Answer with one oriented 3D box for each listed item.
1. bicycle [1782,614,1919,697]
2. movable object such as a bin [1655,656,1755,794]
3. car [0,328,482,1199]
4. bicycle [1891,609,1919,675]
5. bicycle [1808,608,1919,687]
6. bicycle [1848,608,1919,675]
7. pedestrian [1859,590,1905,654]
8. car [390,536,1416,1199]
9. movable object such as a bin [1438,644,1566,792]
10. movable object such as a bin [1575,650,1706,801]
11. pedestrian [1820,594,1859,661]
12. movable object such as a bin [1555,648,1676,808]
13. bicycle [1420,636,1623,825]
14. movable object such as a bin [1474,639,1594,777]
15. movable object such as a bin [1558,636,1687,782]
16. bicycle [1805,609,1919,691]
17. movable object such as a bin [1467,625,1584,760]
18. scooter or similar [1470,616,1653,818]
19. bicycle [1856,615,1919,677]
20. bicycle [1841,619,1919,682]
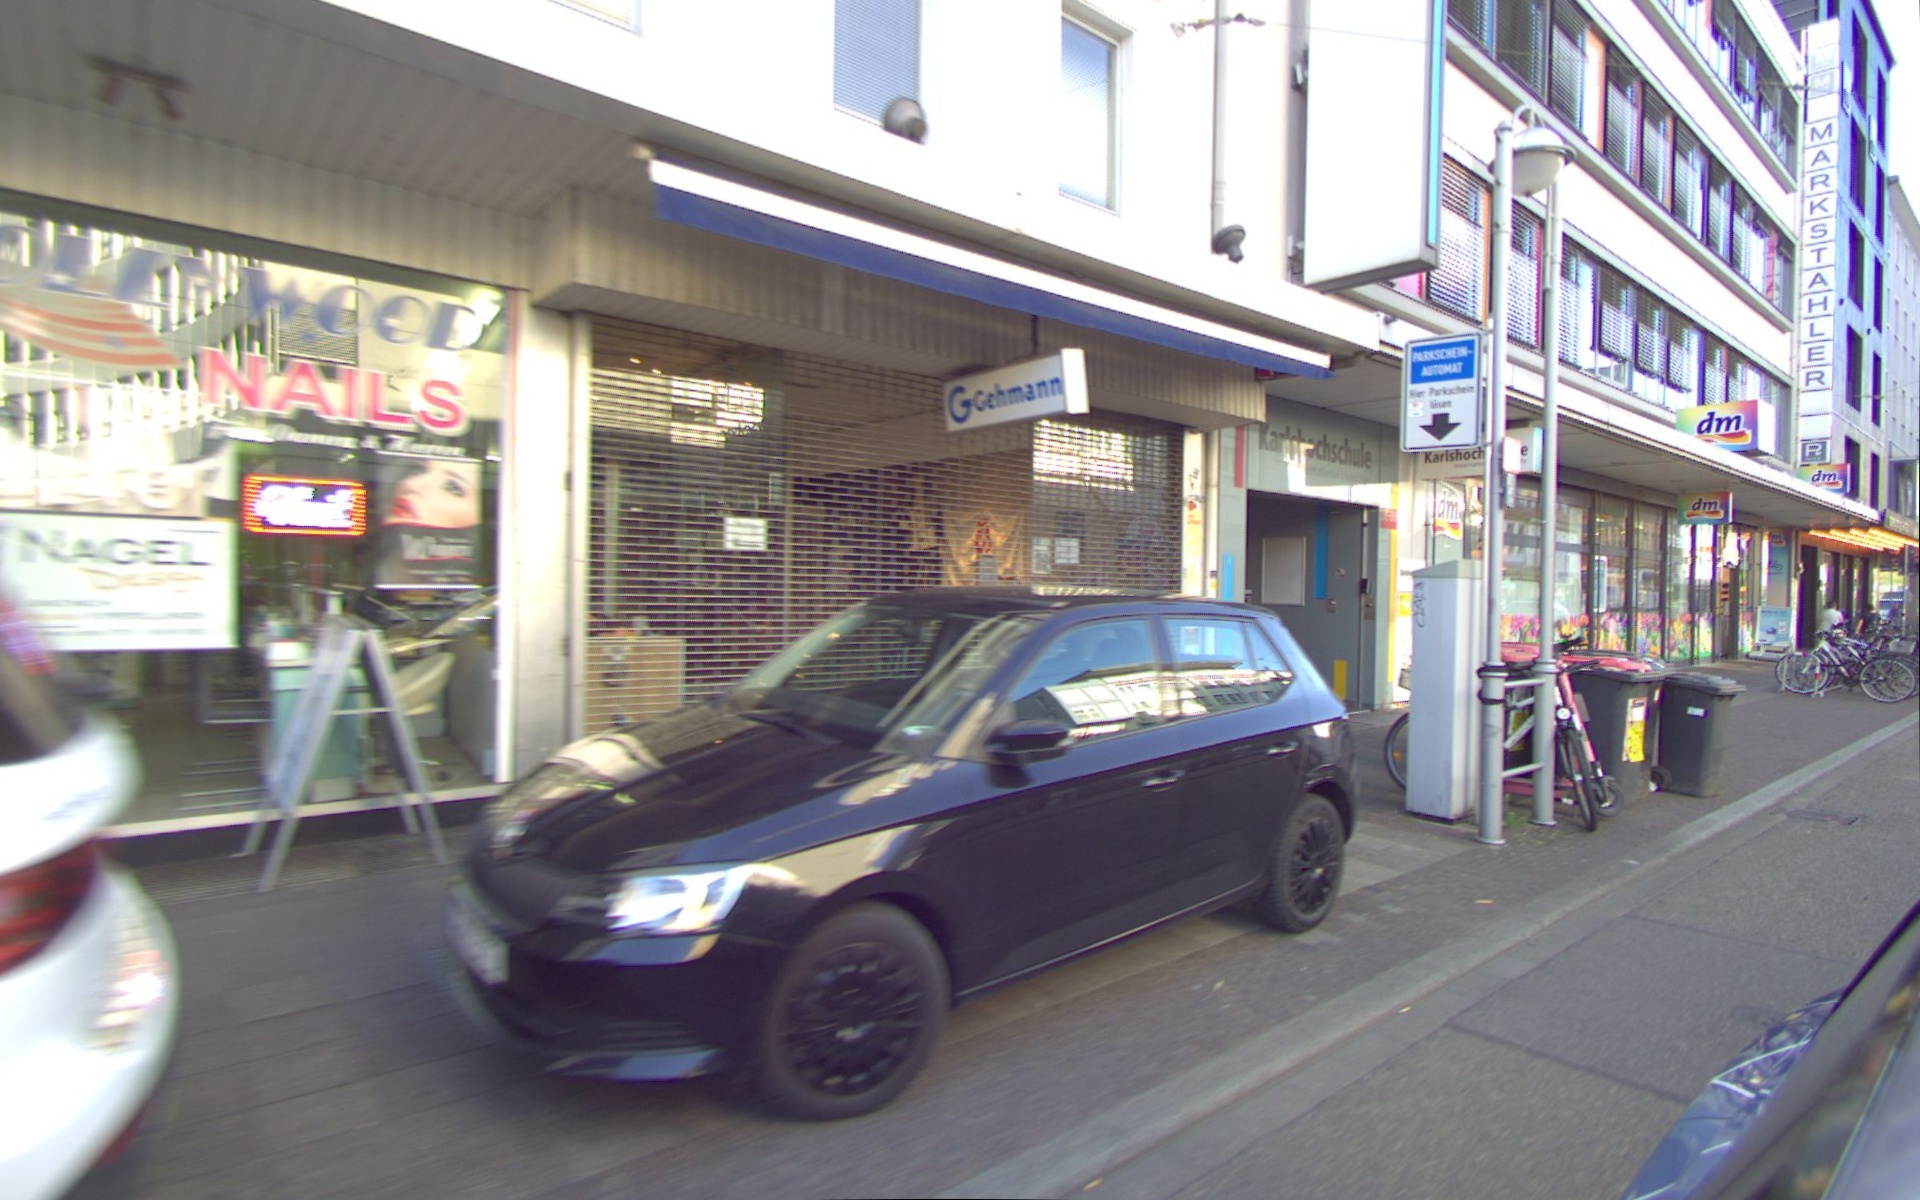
[{"bbox_3d":[14.211,0.849,15.986,0.657,1.174,1.791,1,2,-40],"label":"bicycle"},{"bbox_3d":[5.780,0.951,7.858,0.449,0.970,0.489,0,2,-37],"label":"movable object such as a bin"},{"bbox_3d":[-3.318,0.493,0.695,5.102,1.745,1.853,0,3,-41],"label":"car"},{"bbox_3d":[19.836,0.858,20.976,1.574,1.272,0.582,0,3,-42],"label":"bicycle"},{"bbox_3d":[15.720,0.797,17.288,0.577,1.232,1.791,1,2,-40],"label":"bicycle"},{"bbox_3d":[19.208,0.844,20.313,2.034,1.290,0.517,3,2,41],"label":"bicycle"},{"bbox_3d":[22.741,0.541,24.965,0.575,1.511,0.523,3,2,14],"label":"pedestrian"},{"bbox_3d":[0.113,0.594,4.107,3.999,1.547,1.617,0,2,-41],"label":"car"},{"bbox_3d":[4.225,0.885,7.894,0.625,1.026,0.660,0,2,-37],"label":"movable object such as a bin"},{"bbox_3d":[5.205,0.929,7.751,0.499,1.026,0.688,0,2,-37],"label":"movable object such as a bin"},{"bbox_3d":[21.967,0.681,25.275,0.587,1.605,0.582,0,3,-42],"label":"pedestrian"},{"bbox_3d":[4.719,0.889,7.289,0.658,1.026,0.523,0,2,-38],"label":"movable object such as a bin"},{"bbox_3d":[3.804,0.846,6.915,0.314,1.093,1.133,0,3,-41],"label":"bicycle"},{"bbox_3d":[4.756,0.863,8.396,0.625,1.026,0.660,0,2,-37],"label":"movable object such as a bin"},{"bbox_3d":[5.568,0.884,8.517,0.673,1.102,0.693,0,2,-37],"label":"movable object such as a bin"},{"bbox_3d":[15.208,0.811,16.736,0.657,1.232,1.791,1,2,-40],"label":"bicycle"},{"bbox_3d":[5.108,0.807,9.156,0.653,1.102,0.693,0,2,-37],"label":"movable object such as a bin"},{"bbox_3d":[4.153,0.767,7.030,0.314,1.247,0.995,0,3,-41],"label":"scooter or similar"},{"bbox_3d":[18.701,0.913,19.742,0.471,1.145,1.774,0,2,-45],"label":"bicycle"},{"bbox_3d":[17.040,0.920,18.143,0.586,1.044,1.777,1,2,-40],"label":"bicycle"}]
